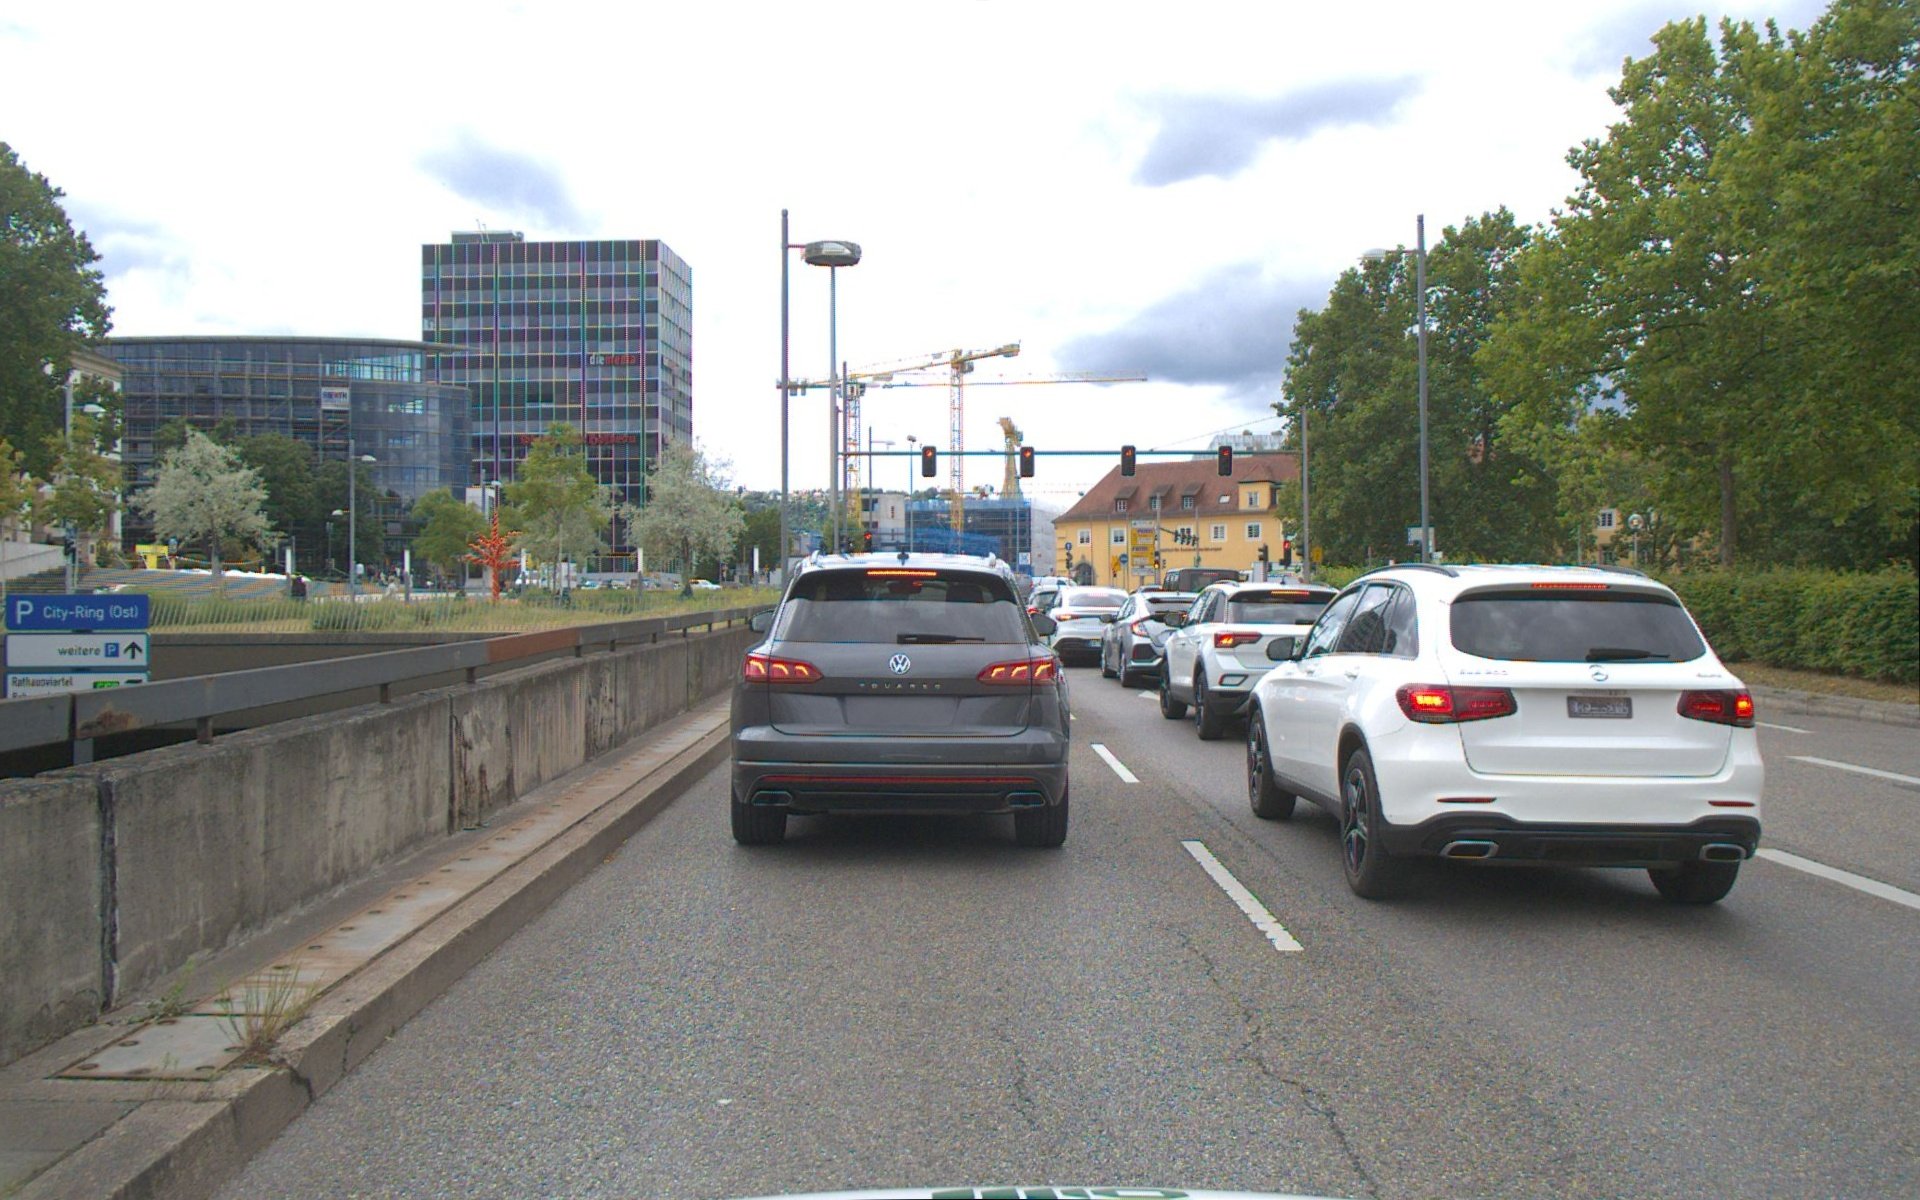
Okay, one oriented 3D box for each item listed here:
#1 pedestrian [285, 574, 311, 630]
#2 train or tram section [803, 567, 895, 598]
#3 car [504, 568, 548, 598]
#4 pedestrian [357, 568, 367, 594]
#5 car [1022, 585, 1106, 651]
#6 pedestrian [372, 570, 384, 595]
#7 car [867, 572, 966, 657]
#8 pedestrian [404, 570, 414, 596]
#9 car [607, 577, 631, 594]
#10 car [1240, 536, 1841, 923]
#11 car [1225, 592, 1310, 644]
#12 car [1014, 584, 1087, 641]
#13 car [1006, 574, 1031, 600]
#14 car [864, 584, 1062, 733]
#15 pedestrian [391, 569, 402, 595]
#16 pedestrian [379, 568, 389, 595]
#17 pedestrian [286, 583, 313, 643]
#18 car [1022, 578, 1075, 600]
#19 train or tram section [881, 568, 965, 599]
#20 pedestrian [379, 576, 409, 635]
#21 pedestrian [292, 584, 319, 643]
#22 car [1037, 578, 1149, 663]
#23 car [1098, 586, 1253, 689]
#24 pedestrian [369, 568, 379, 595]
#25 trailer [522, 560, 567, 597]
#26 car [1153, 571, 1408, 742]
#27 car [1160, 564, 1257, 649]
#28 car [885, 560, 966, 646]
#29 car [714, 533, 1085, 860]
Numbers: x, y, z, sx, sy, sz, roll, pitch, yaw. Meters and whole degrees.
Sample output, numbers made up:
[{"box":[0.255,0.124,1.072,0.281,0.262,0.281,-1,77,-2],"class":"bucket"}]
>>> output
[{"box":[-25.098,0.078,62.693,0.716,2.047,0.628,-1,5,-8],"class":"pedestrian"},{"box":[-11.983,-1.915,177.563,10.208,3.062,2.590,1,-1,32],"class":"train or tram section"},{"box":[-31.444,-1.272,119.835,1.953,2.048,4.692,0,2,0],"class":"car"},{"box":[-46.985,-1.471,129.963,0.728,2.048,0.788,-1,1,-21],"class":"pedestrian"},{"box":[2.566,0.434,41.621,1.887,1.556,4.047,1,0,0],"class":"car"},{"box":[-47.941,-1.437,136.251,0.723,2.048,0.793,0,1,0],"class":"pedestrian"},{"box":[-0.904,0.271,34.780,1.912,1.627,3.930,2,0,-1],"class":"car"},{"box":[-43.381,-1.340,130.241,0.728,2.048,1.108,-1,1,-21],"class":"pedestrian"},{"box":[-32.320,-1.381,156.752,1.698,1.521,3.592,2,-1,-3],"class":"car"},{"box":[2.917,0.534,9.472,1.887,1.682,4.490,0,1,0],"class":"car"},{"box":[9.216,0.524,49.771,1.722,1.472,3.632,2,0,-2],"class":"car"},{"box":[2.578,0.351,47.910,1.887,1.556,4.047,1,0,0],"class":"car"},{"box":[4.079,-0.882,115.389,1.586,1.656,3.999,2,-1,0],"class":"car"},{"box":[-0.009,0.571,18.286,1.912,1.408,3.930,2,0,-1],"class":"car"},{"box":[-43.762,-1.393,128.395,0.728,2.048,0.788,-1,1,-21],"class":"pedestrian"},{"box":[-44.622,-1.425,128.106,0.728,2.048,1.108,-1,1,-21],"class":"pedestrian"},{"box":[-23.022,0.452,57.670,0.781,2.049,0.829,-1,1,-28],"class":"pedestrian"},{"box":[7.319,-0.911,137.371,4.029,1.638,1.823,1,-1,35],"class":"car"},{"box":[-3.909,-1.727,172.512,8.760,3.062,2.590,1,-1,32],"class":"train or tram section"},{"box":[-19.905,0.185,58.175,0.842,2.048,0.629,0,1,-2],"class":"pedestrian"},{"box":[-23.116,0.461,58.386,0.781,2.049,0.829,-1,1,-28],"class":"pedestrian"},{"box":[2.565,0.390,32.801,1.887,1.556,4.489,1,0,0],"class":"car"},{"box":[3.292,0.546,26.088,1.887,1.457,4.489,1,0,0],"class":"car"},{"box":[-45.985,-1.443,129.782,0.728,2.048,0.788,-1,1,-21],"class":"pedestrian"},{"box":[-31.320,-1.662,124.919,1.996,2.650,5.508,2,1,-1],"class":"trailer"},{"box":[3.264,0.539,17.741,1.887,1.578,4.489,1,0,0],"class":"car"},{"box":[6.402,0.171,43.001,1.871,2.049,4.012,2,0,0],"class":"car"},{"box":[-0.872,0.063,42.357,1.912,2.053,3.930,2,0,-1],"class":"car"},{"box":[-0.347,0.489,10.536,1.912,1.680,3.999,0,0,-1],"class":"car"}]
